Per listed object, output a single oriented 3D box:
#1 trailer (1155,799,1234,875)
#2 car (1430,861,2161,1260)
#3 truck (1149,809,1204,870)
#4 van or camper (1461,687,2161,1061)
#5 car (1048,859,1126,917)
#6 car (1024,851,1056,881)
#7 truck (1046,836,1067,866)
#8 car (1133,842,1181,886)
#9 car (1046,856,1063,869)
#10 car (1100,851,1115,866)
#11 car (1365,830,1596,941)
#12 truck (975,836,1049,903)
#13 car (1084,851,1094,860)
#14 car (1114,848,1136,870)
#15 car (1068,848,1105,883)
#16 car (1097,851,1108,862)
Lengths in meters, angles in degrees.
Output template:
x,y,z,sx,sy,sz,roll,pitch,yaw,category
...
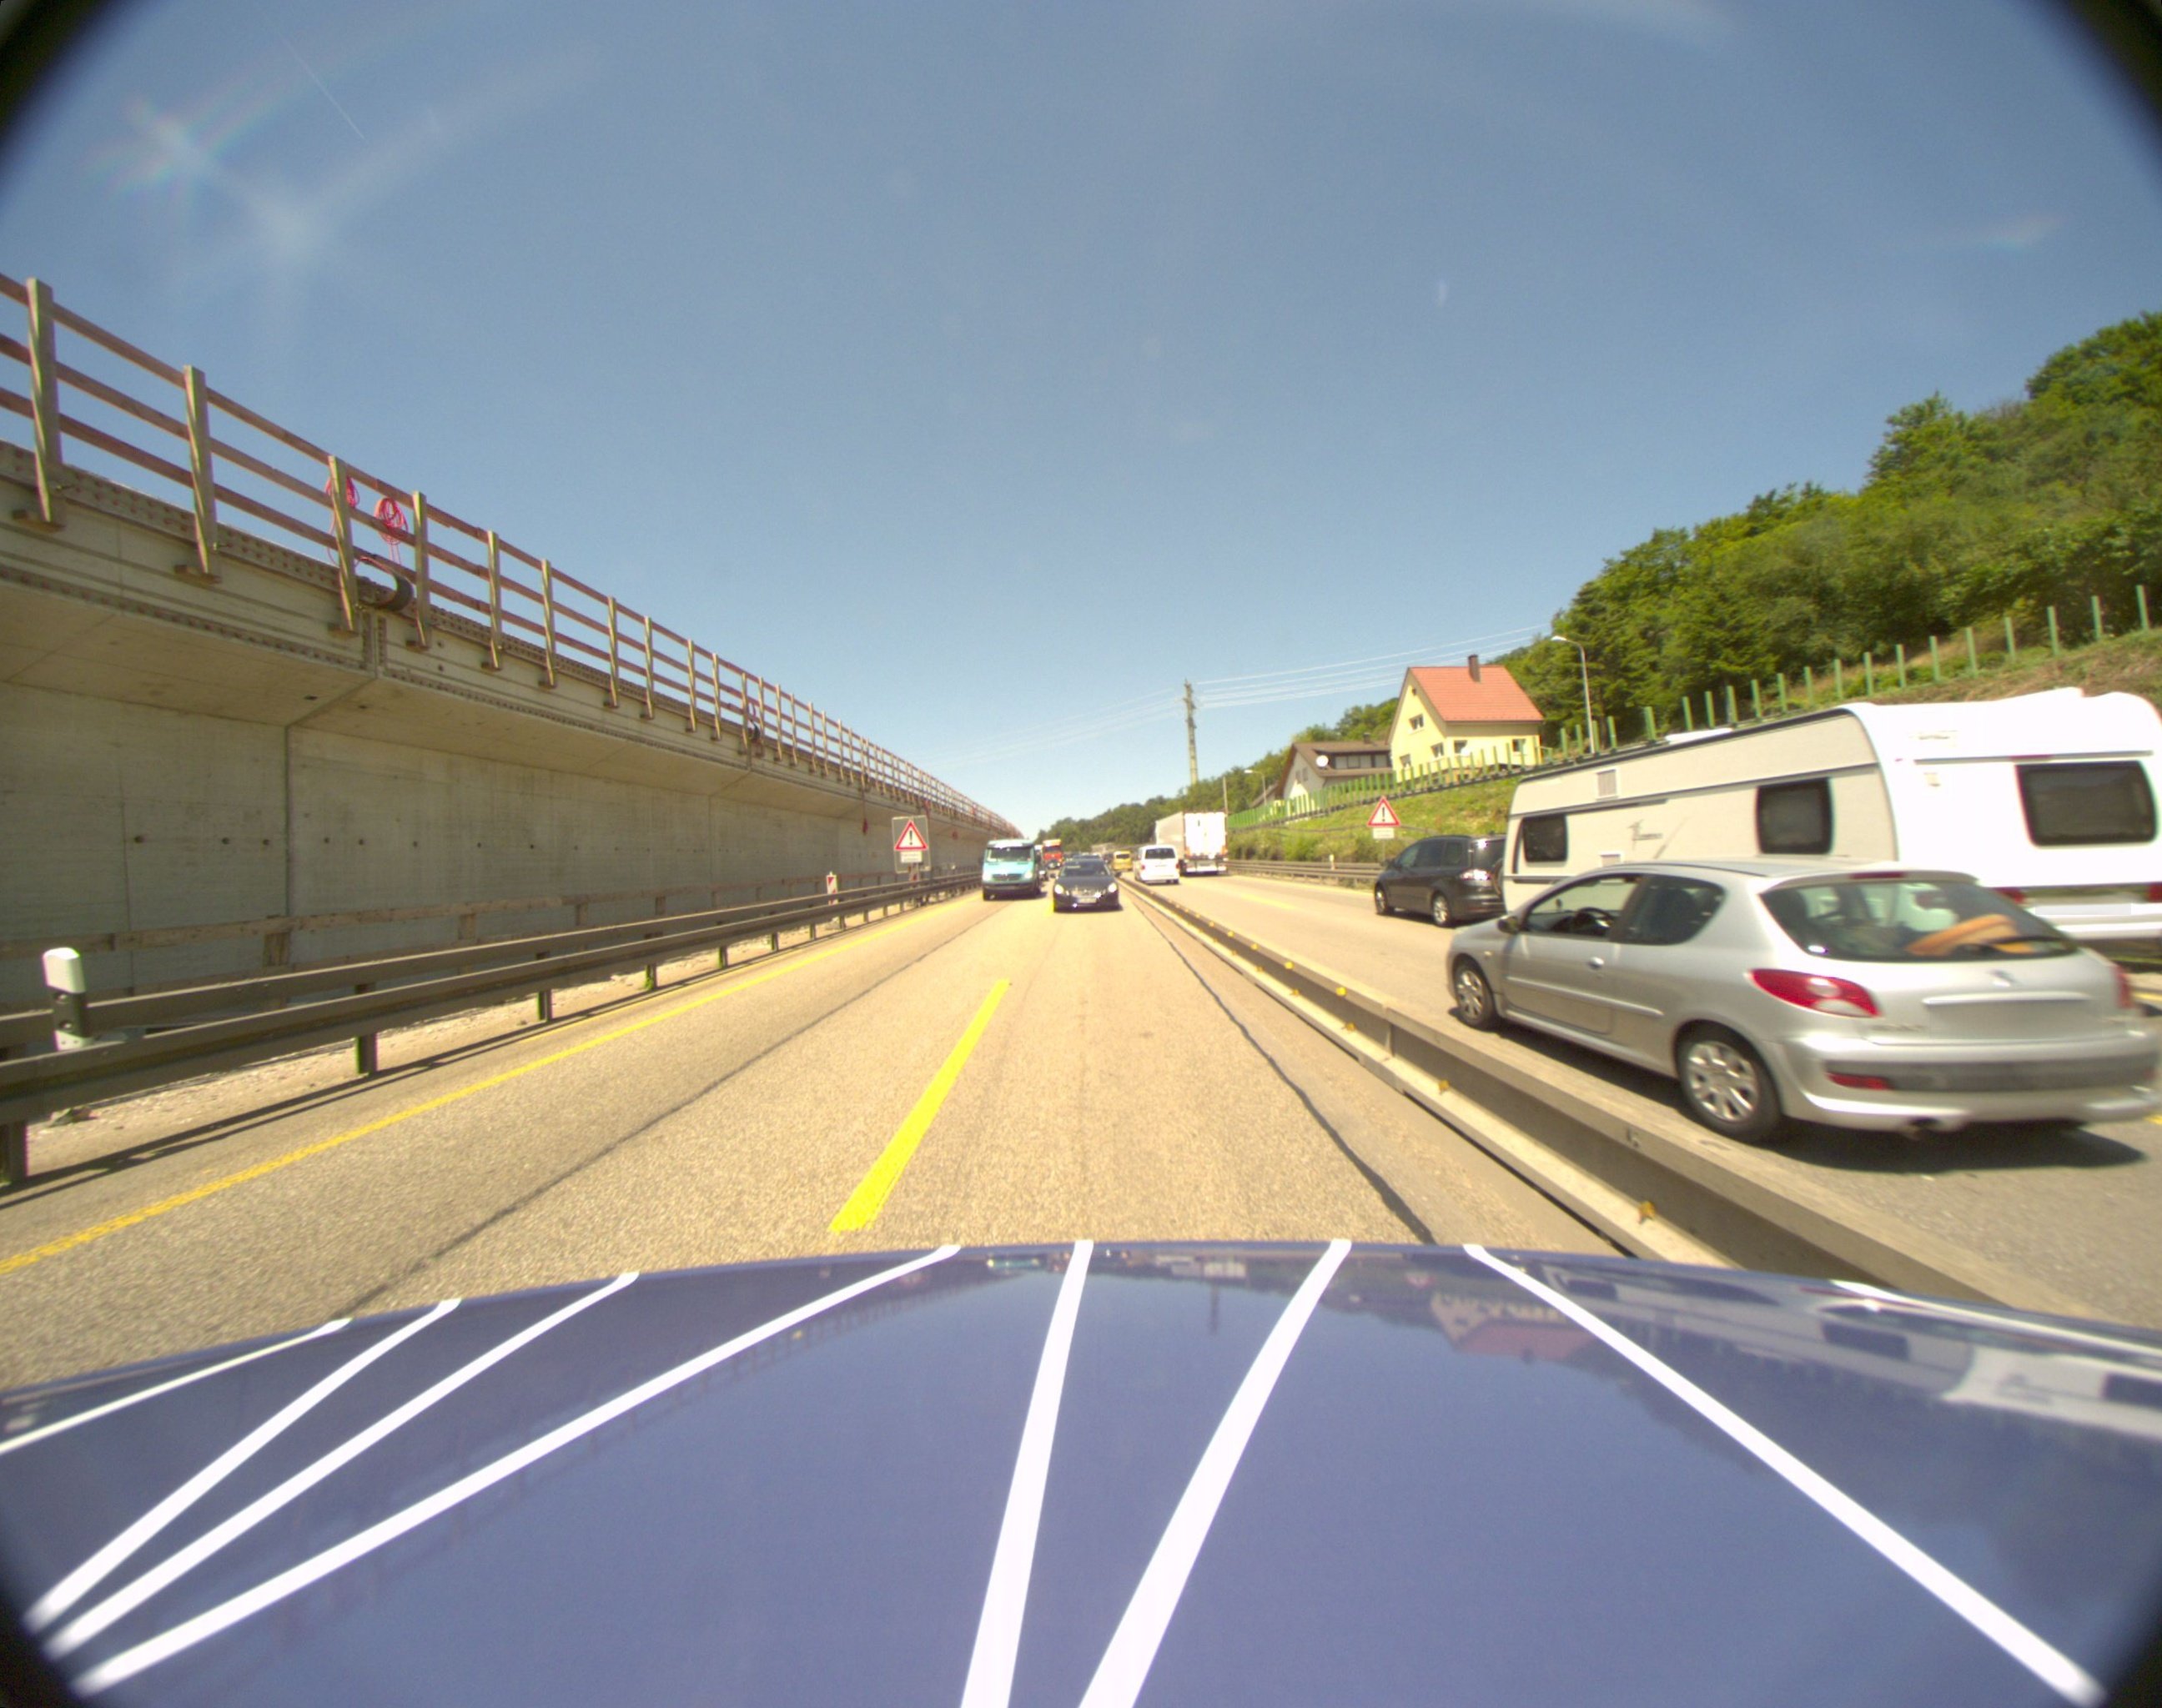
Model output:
x,y,z,sx,sy,sz,roll,pitch,yaw,category
7.412,-1.079,52.274,3.111,4.416,14.627,-2,1,0,trailer
3.969,0.815,4.871,1.671,1.442,3.905,-2,0,1,car
7.328,-1.115,59.660,3.111,4.368,8.505,-2,1,0,truck
7.336,0.097,8.868,2.356,2.619,6.901,-2,1,1,van or camper
0.197,0.918,22.381,1.998,1.440,4.601,-2,0,1,car
-2.727,0.763,51.173,1.885,1.805,4.250,-2,1,0,car
-3.668,-0.470,115.493,2.750,4.222,9.094,-2,1,0,truck
3.755,0.480,38.060,1.998,2.002,4.166,-2,0,1,car
-3.232,1.049,94.228,1.883,1.532,4.281,-2,1,0,car
3.491,0.531,99.997,1.885,1.805,4.000,-2,1,2,car
7.398,0.489,14.744,1.998,1.745,4.687,-2,1,1,car
-2.608,0.519,30.919,2.139,2.343,7.432,-2,1,1,truck
1.652,0.225,160.200,1.885,1.805,4.000,-2,1,2,car
3.963,0.423,69.271,1.885,1.805,4.000,-2,1,2,car
0.362,0.626,43.393,1.885,1.805,4.250,-2,1,2,car
3.686,0.474,130.898,1.885,1.805,4.000,-2,1,2,car
